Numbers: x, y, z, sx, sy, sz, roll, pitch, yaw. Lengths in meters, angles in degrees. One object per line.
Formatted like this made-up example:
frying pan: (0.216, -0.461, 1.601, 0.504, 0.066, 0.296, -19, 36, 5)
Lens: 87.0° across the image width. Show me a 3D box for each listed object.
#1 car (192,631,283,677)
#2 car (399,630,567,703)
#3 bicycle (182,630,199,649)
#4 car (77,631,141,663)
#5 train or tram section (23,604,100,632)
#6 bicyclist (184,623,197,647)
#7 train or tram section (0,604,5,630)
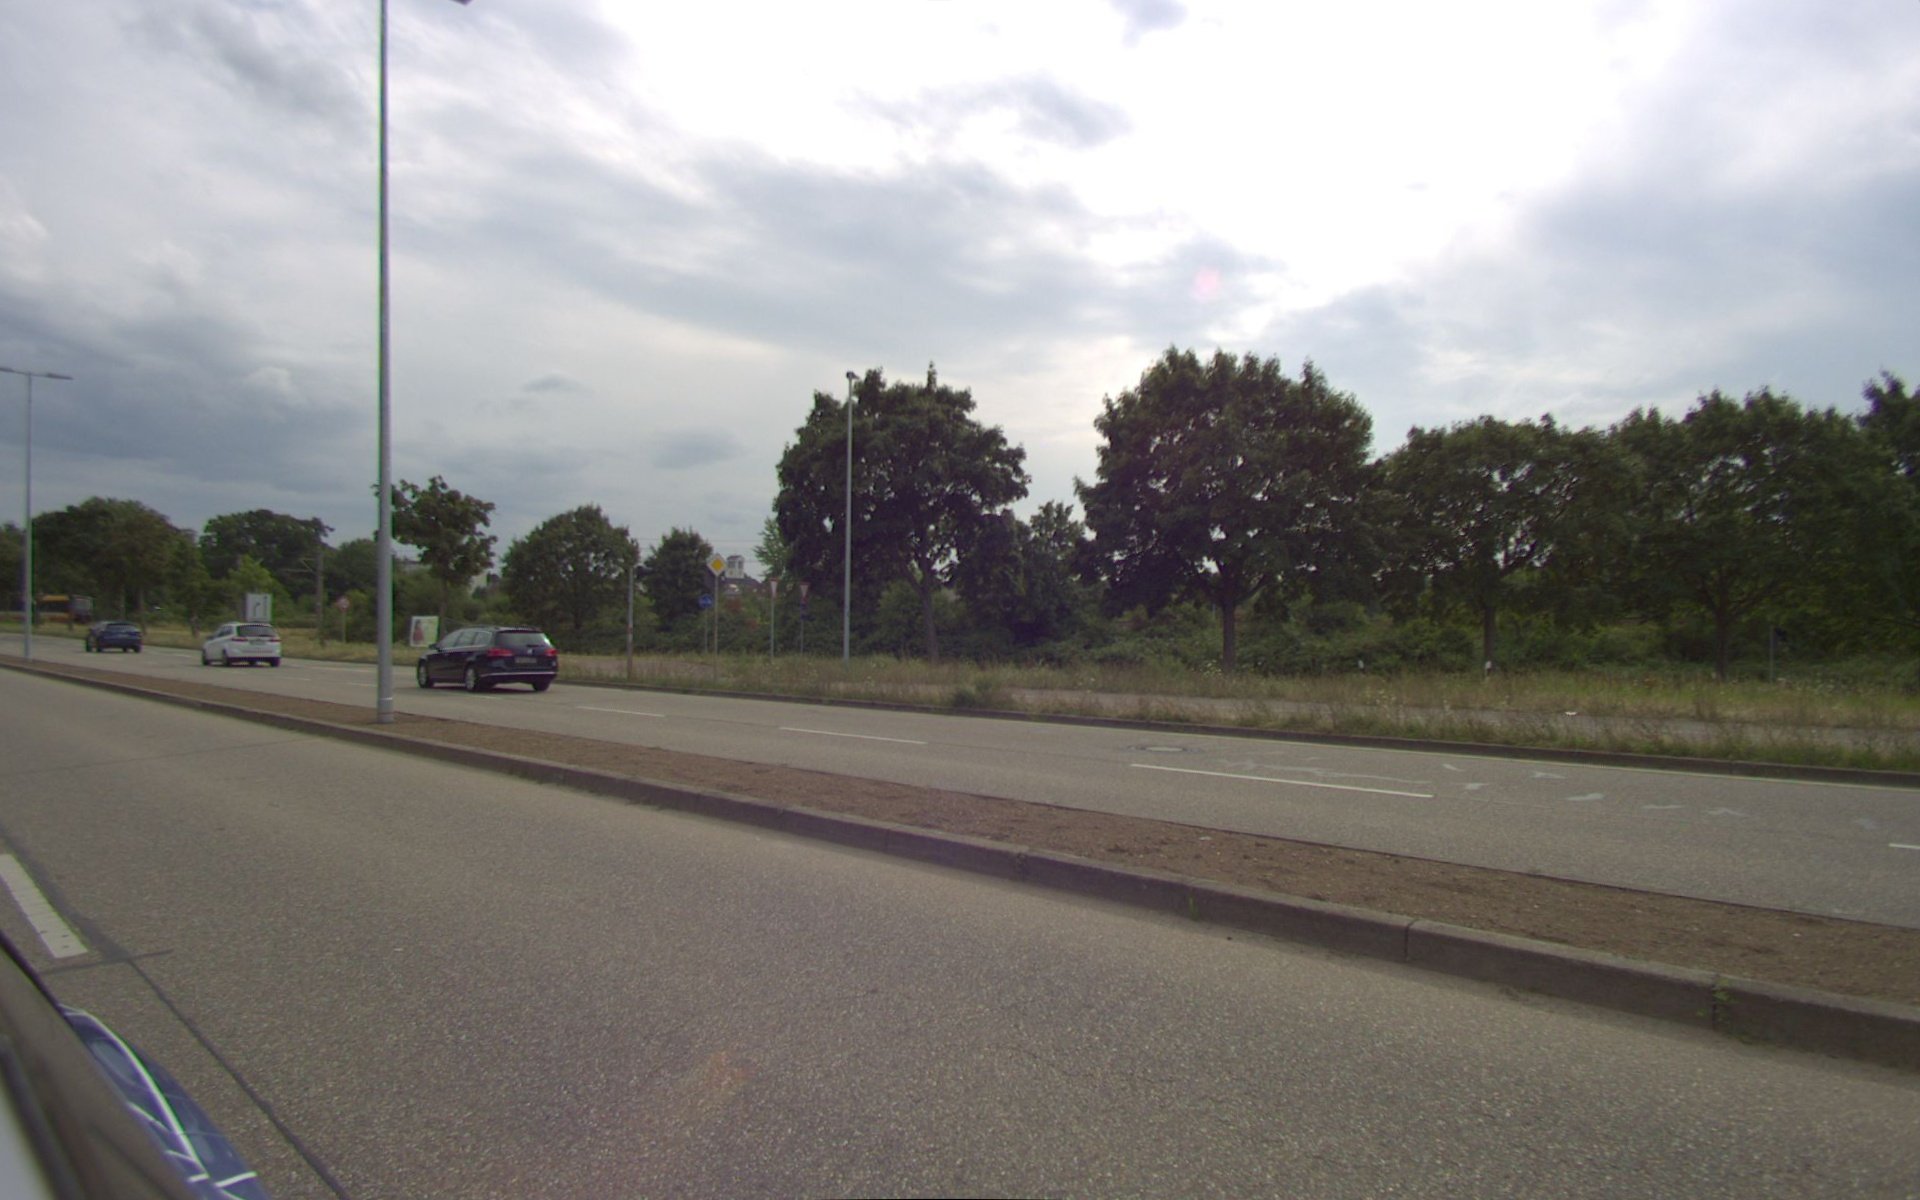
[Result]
car: (-28.085, 2.069, 39.282, 4.635, 1.666, 1.750, -1, -4, 40)
car: (-11.284, 1.491, 23.804, 4.737, 1.544, 1.750, -1, -3, 40)
bicycle: (-60.675, 3.119, 79.788, 2.165, 1.433, 0.530, -1, -3, 41)
car: (-45.548, 2.487, 54.142, 4.561, 1.666, 1.828, -1, -3, 40)
train or tram section: (-113.257, 2.289, 127.510, 11.881, 3.447, 2.897, -1, 0, 26)
bicyclist: (-60.709, 2.766, 79.845, 0.818, 1.846, 0.637, -1, -3, 40)
train or tram section: (-134.692, 2.391, 137.692, 11.883, 3.447, 2.897, -1, 0, 26)
